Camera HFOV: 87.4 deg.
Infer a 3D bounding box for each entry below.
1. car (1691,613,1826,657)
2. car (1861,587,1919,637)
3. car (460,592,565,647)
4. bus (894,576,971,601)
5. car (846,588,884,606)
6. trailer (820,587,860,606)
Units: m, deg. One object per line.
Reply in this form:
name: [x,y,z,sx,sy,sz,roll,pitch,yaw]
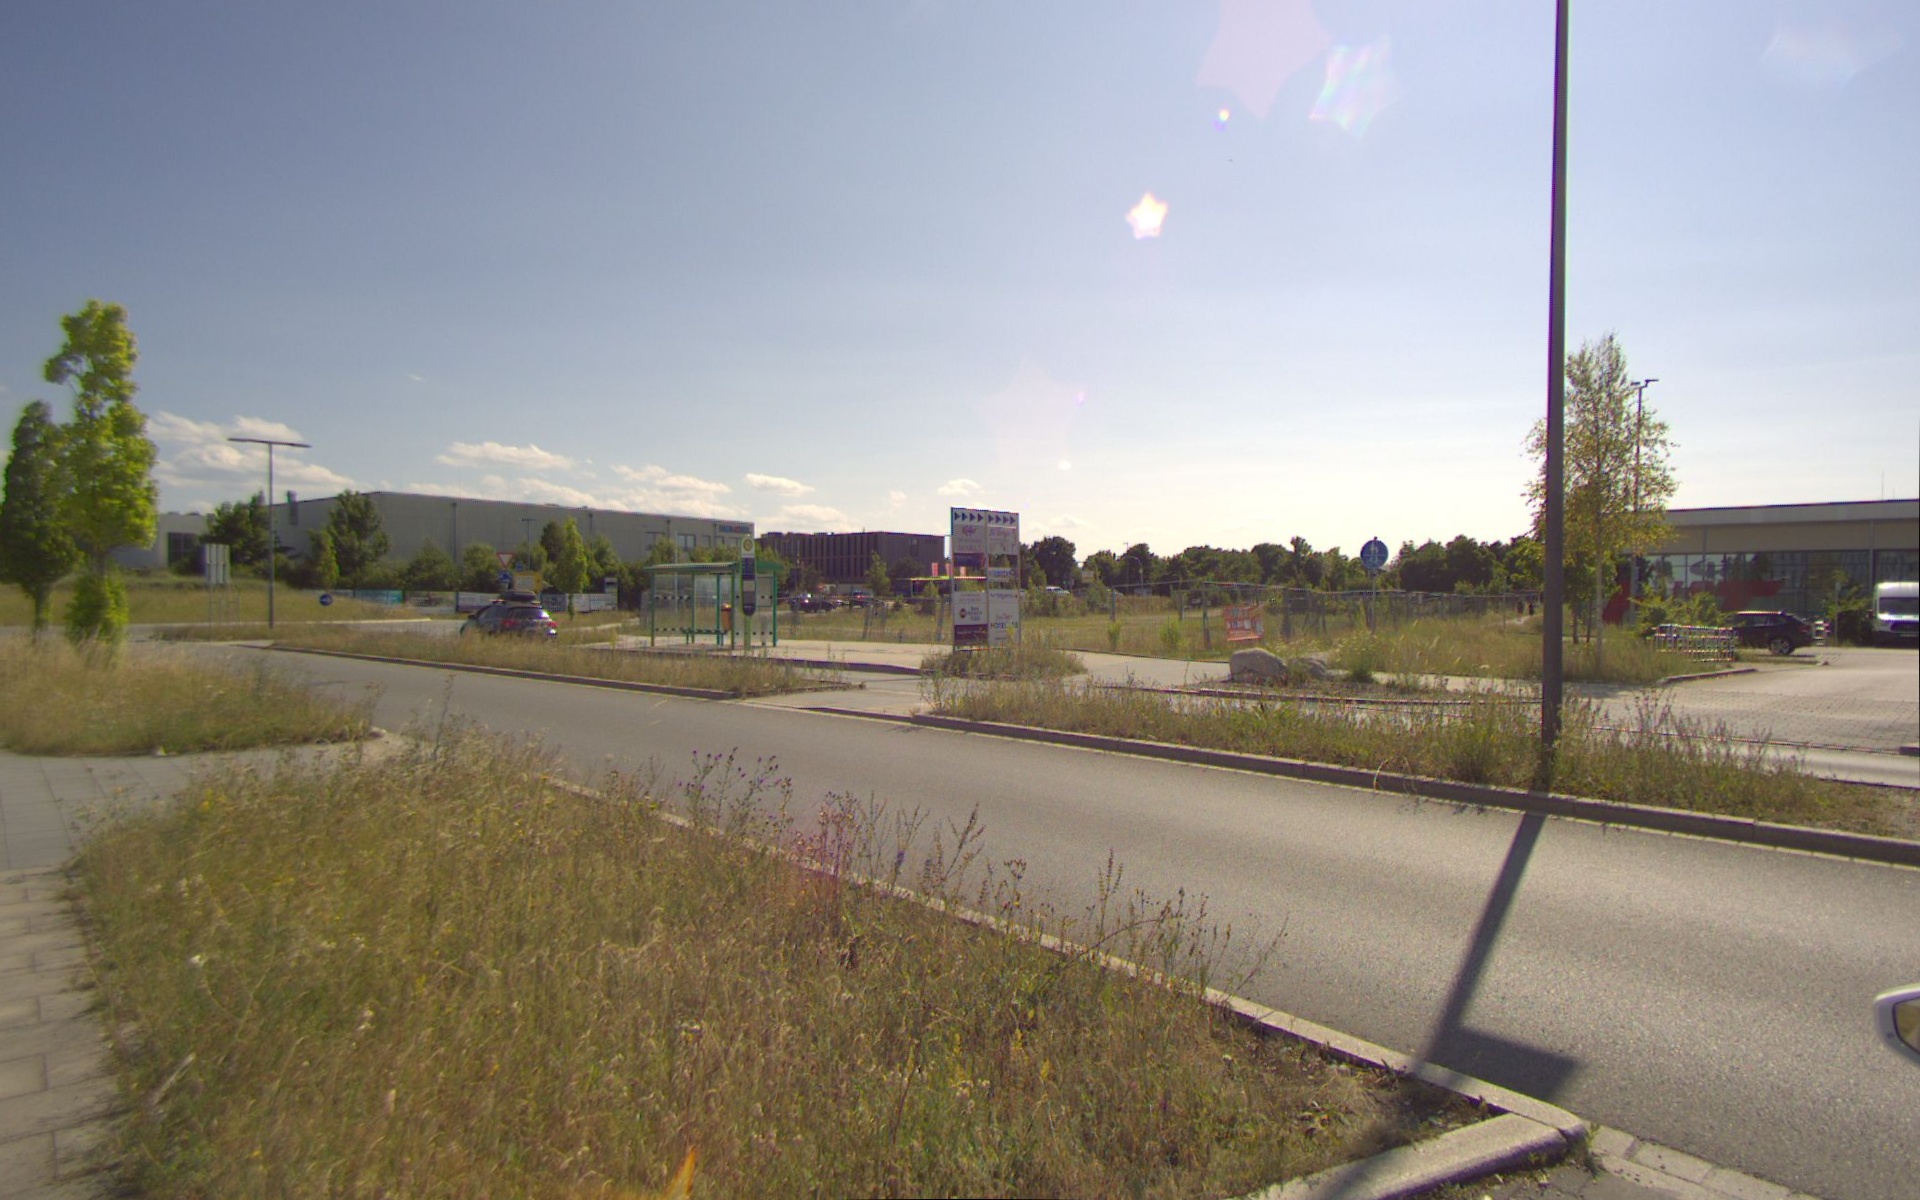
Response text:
car: [29.324,1.232,36.958,3.788,1.442,1.763,1,0,41]
car: [39.950,0.485,42.711,2.196,2.003,6.663,0,0,40]
car: [-13.760,0.551,30.742,1.982,1.537,4.150,1,0,-38]
bus: [-3.063,-1.310,116.115,2.537,2.772,11.530,1,1,35]
car: [-9.951,-0.317,105.468,1.798,1.884,3.987,1,0,35]
trailer: [-12.197,-0.355,102.268,1.798,1.884,3.987,1,0,35]
